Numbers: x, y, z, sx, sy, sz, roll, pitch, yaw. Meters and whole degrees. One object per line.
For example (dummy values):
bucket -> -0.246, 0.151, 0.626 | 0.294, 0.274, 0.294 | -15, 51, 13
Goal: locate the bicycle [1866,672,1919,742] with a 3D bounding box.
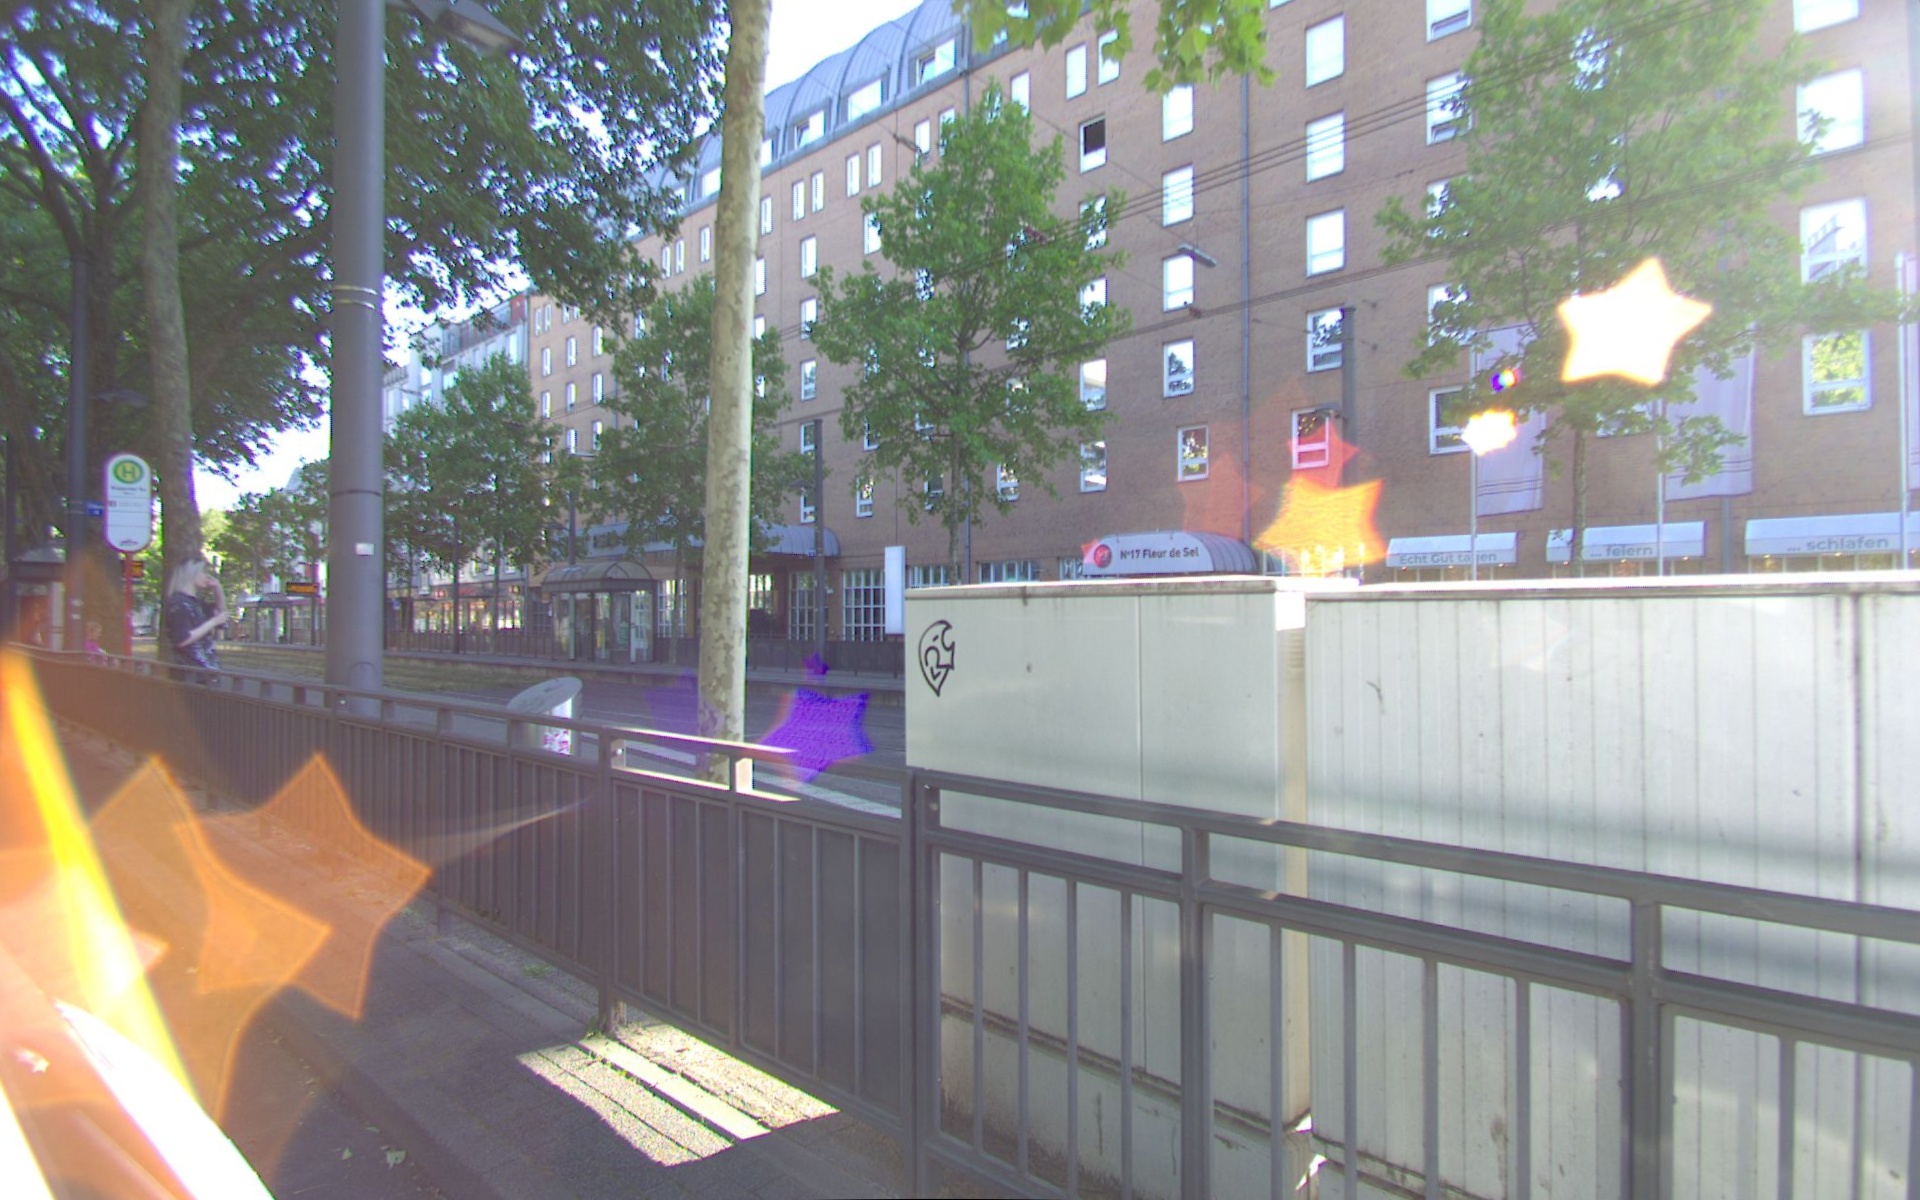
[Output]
bicycle -> 13.969, 1.507, 13.871 | 0.656, 0.940, 2.191 | 1, -2, -31

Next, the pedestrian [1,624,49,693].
pedestrian -> -19.704, 1.223, 21.326 | 0.725, 1.398, 0.641 | -1, 0, -44

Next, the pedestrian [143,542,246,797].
pedestrian -> -6.094, 0.521, 8.052 | 0.759, 1.914, 0.504 | -1, 0, 42

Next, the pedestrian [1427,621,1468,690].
pedestrian -> 11.536, 1.301, 23.954 | 0.725, 1.596, 0.583 | -1, 0, 40

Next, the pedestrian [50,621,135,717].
pedestrian -> -13.562, 1.050, 15.823 | 0.965, 1.410, 0.665 | -1, 0, -44
